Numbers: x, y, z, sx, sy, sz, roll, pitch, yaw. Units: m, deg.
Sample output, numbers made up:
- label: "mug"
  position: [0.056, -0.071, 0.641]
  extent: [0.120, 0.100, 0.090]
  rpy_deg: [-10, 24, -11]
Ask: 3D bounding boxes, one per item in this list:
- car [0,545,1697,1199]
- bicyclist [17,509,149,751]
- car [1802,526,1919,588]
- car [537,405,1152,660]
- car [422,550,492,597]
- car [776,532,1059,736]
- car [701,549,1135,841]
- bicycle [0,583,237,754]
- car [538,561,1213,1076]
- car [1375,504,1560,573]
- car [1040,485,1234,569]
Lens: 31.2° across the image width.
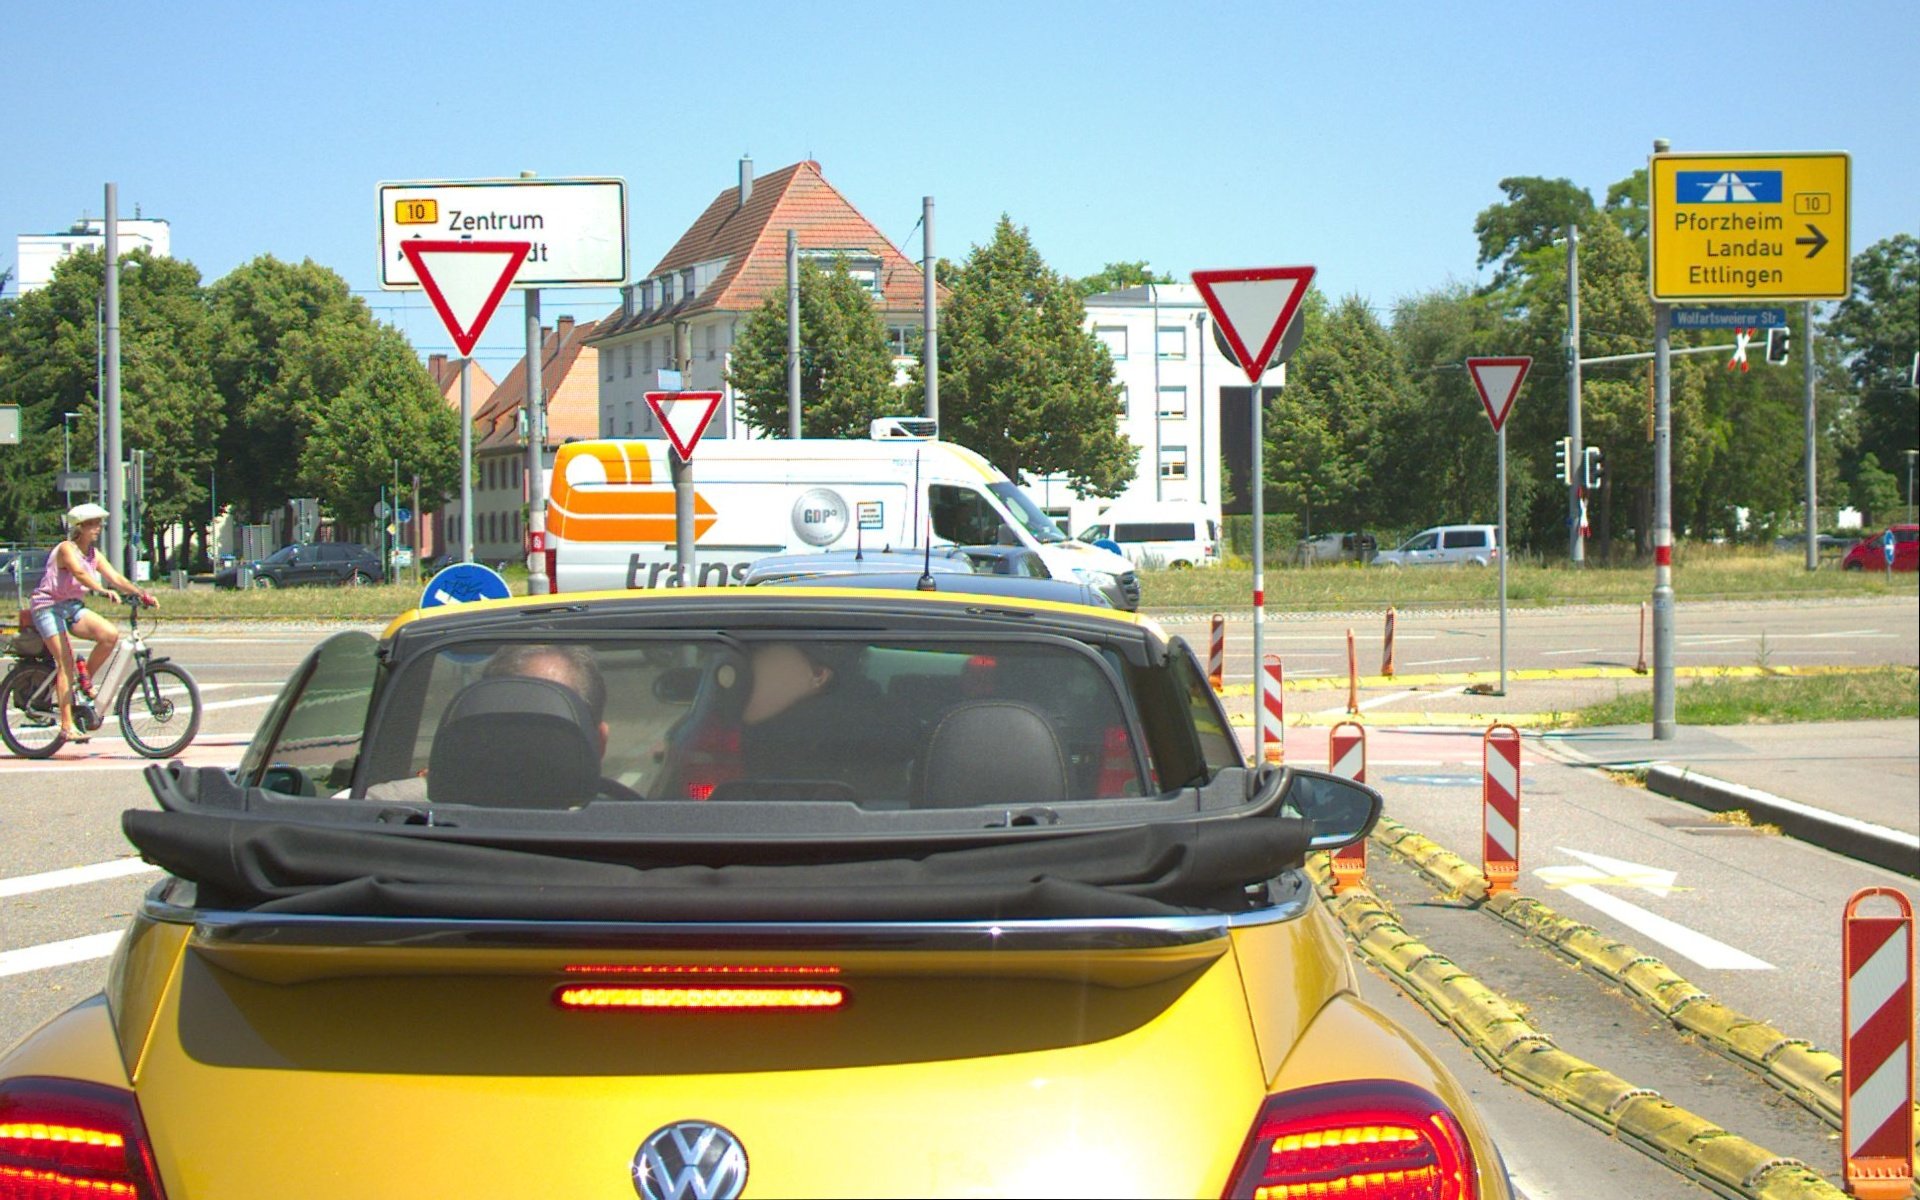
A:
- label: "car"
  position: [-0.279, 0.677, 5.098]
  extent: [1.765, 1.476, 4.258]
  rpy_deg: [1, 1, -1]
- label: "bicyclist"
  position: [-6.453, 0.212, 25.315]
  extent: [0.670, 1.746, 0.592]
  rpy_deg: [-1, 2, 21]
- label: "car"
  position: [24.960, -1.151, 92.071]
  extent: [1.896, 1.648, 4.344]
  rpy_deg: [0, 1, -42]
- label: "car"
  position: [-1.316, -0.802, 40.066]
  extent: [6.864, 2.818, 1.999]
  rpy_deg: [1, 0, 10]
- label: "car"
  position: [-19.206, -1.019, 131.098]
  extent: [1.884, 1.766, 4.001]
  rpy_deg: [1, 1, -19]
- label: "car"
  position: [-0.340, 0.206, 27.629]
  extent: [2.065, 1.476, 4.543]
  rpy_deg: [-1, 1, -1]
- label: "car"
  position: [-0.235, 0.436, 18.645]
  extent: [2.065, 1.377, 4.258]
  rpy_deg: [1, 1, -1]
- label: "bicycle"
  position: [-6.400, 0.494, 25.308]
  extent: [2.094, 1.217, 0.633]
  rpy_deg: [0, 1, 22]
- label: "car"
  position: [-0.257, 0.580, 11.654]
  extent: [1.851, 1.361, 4.258]
  rpy_deg: [-1, 1, -1]
- label: "car"
  position: [15.745, -1.922, 106.716]
  extent: [5.317, 2.063, 1.992]
  rpy_deg: [1, 1, 23]
- label: "car"
  position: [5.189, -2.141, 100.642]
  extent: [5.315, 2.389, 1.993]
  rpy_deg: [1, 0, 16]
